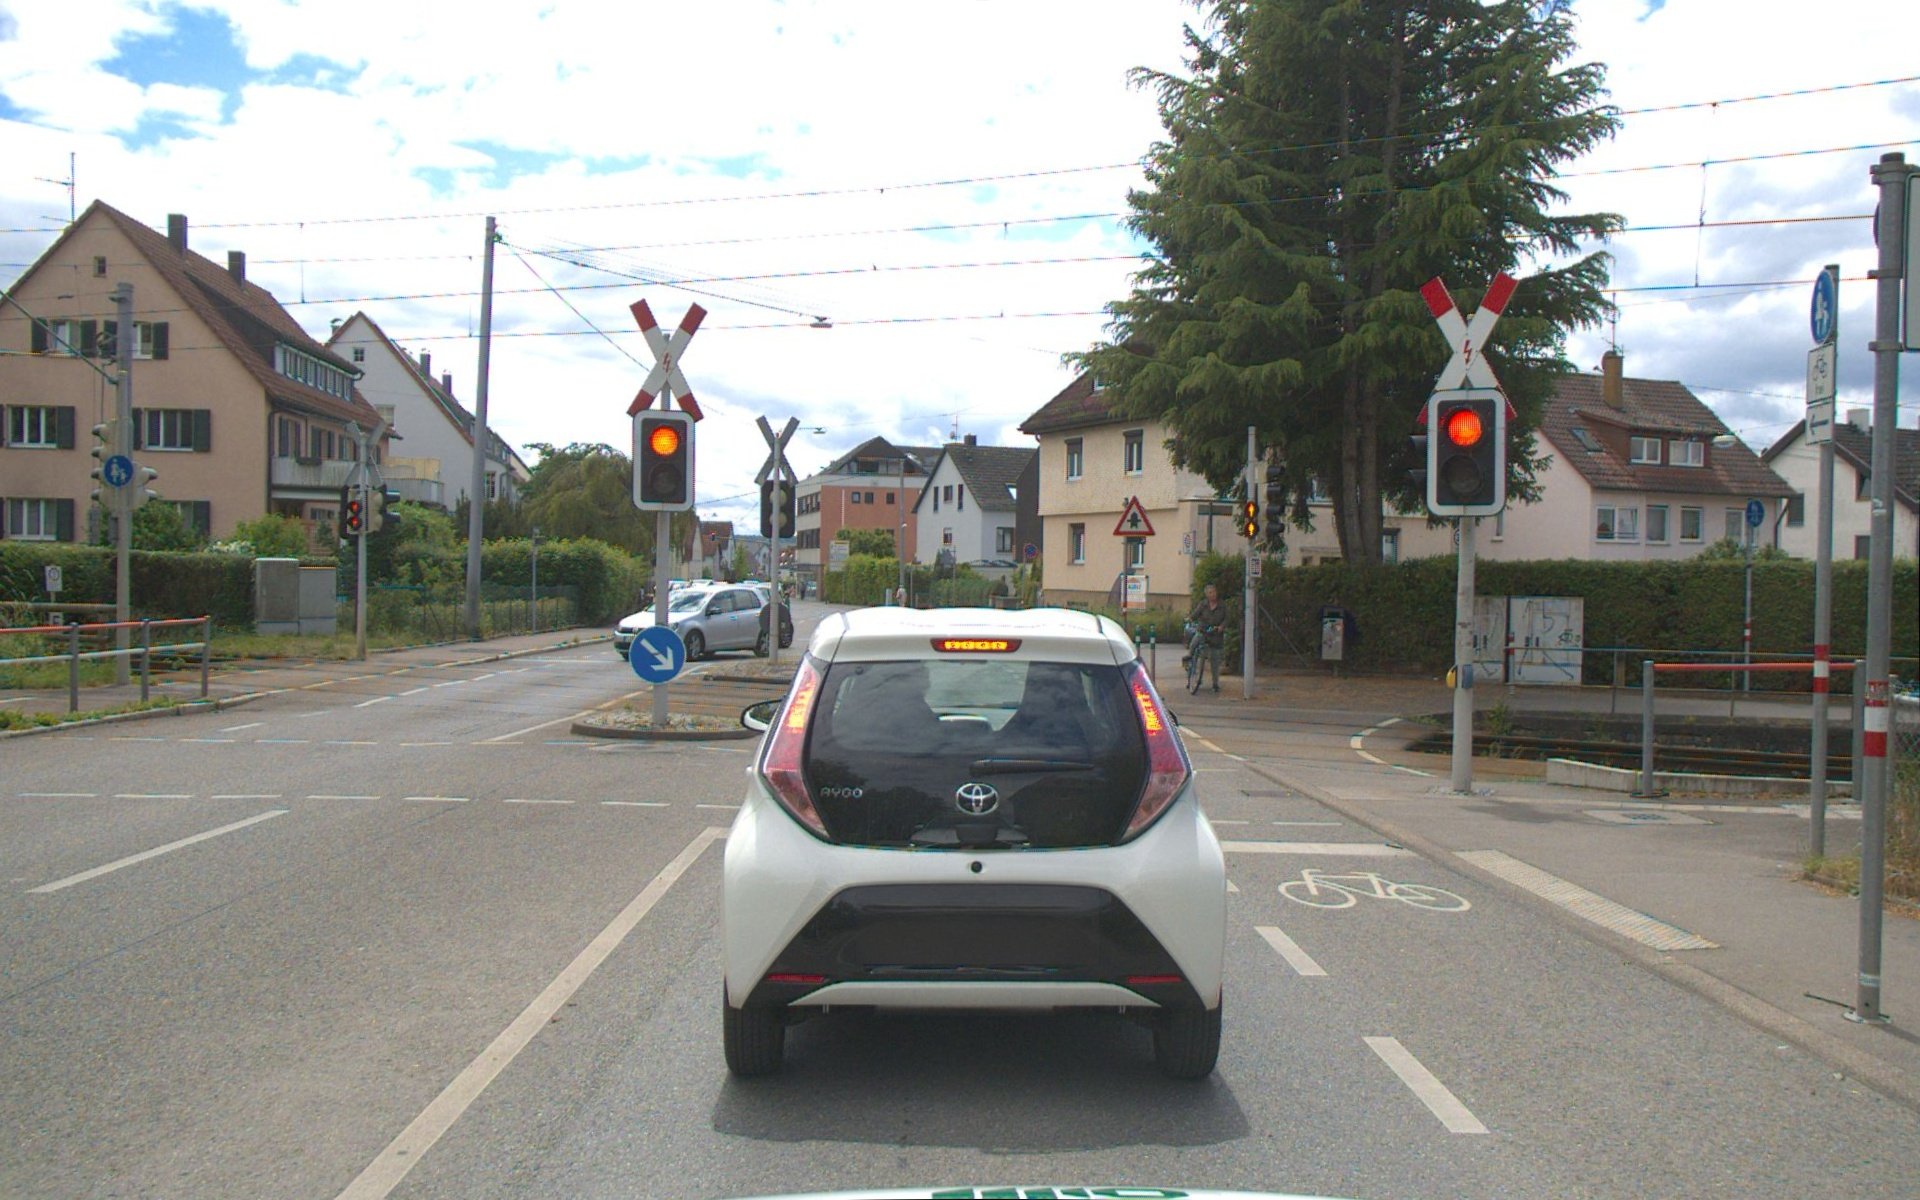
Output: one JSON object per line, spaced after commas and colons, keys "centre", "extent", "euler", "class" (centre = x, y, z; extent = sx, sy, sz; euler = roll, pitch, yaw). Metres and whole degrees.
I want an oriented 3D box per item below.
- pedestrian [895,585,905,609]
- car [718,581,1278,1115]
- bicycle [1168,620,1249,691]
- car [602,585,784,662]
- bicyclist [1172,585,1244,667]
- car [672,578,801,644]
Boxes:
{"centre": [-3.618, -0.182, 99.341], "extent": [0.405, 1.463, 0.437], "euler": [2, 1, 29], "class": "pedestrian"}
{"centre": [0.085, 0.719, 6.725], "extent": [1.588, 1.512, 3.999], "euler": [1, 0, -1], "class": "car"}
{"centre": [3.981, 0.860, 26.383], "extent": [0.912, 1.058, 1.915], "euler": [0, 0, 20], "class": "bicycle"}
{"centre": [-5.459, 0.446, 34.352], "extent": [1.655, 1.484, 4.064], "euler": [0, 1, 27], "class": "car"}
{"centre": [3.948, 0.404, 26.292], "extent": [0.912, 1.269, 1.102], "euler": [0, 0, 21], "class": "bicyclist"}
{"centre": [-5.445, 0.288, 40.497], "extent": [1.551, 1.536, 2.772], "euler": [1, 0, 41], "class": "car"}
